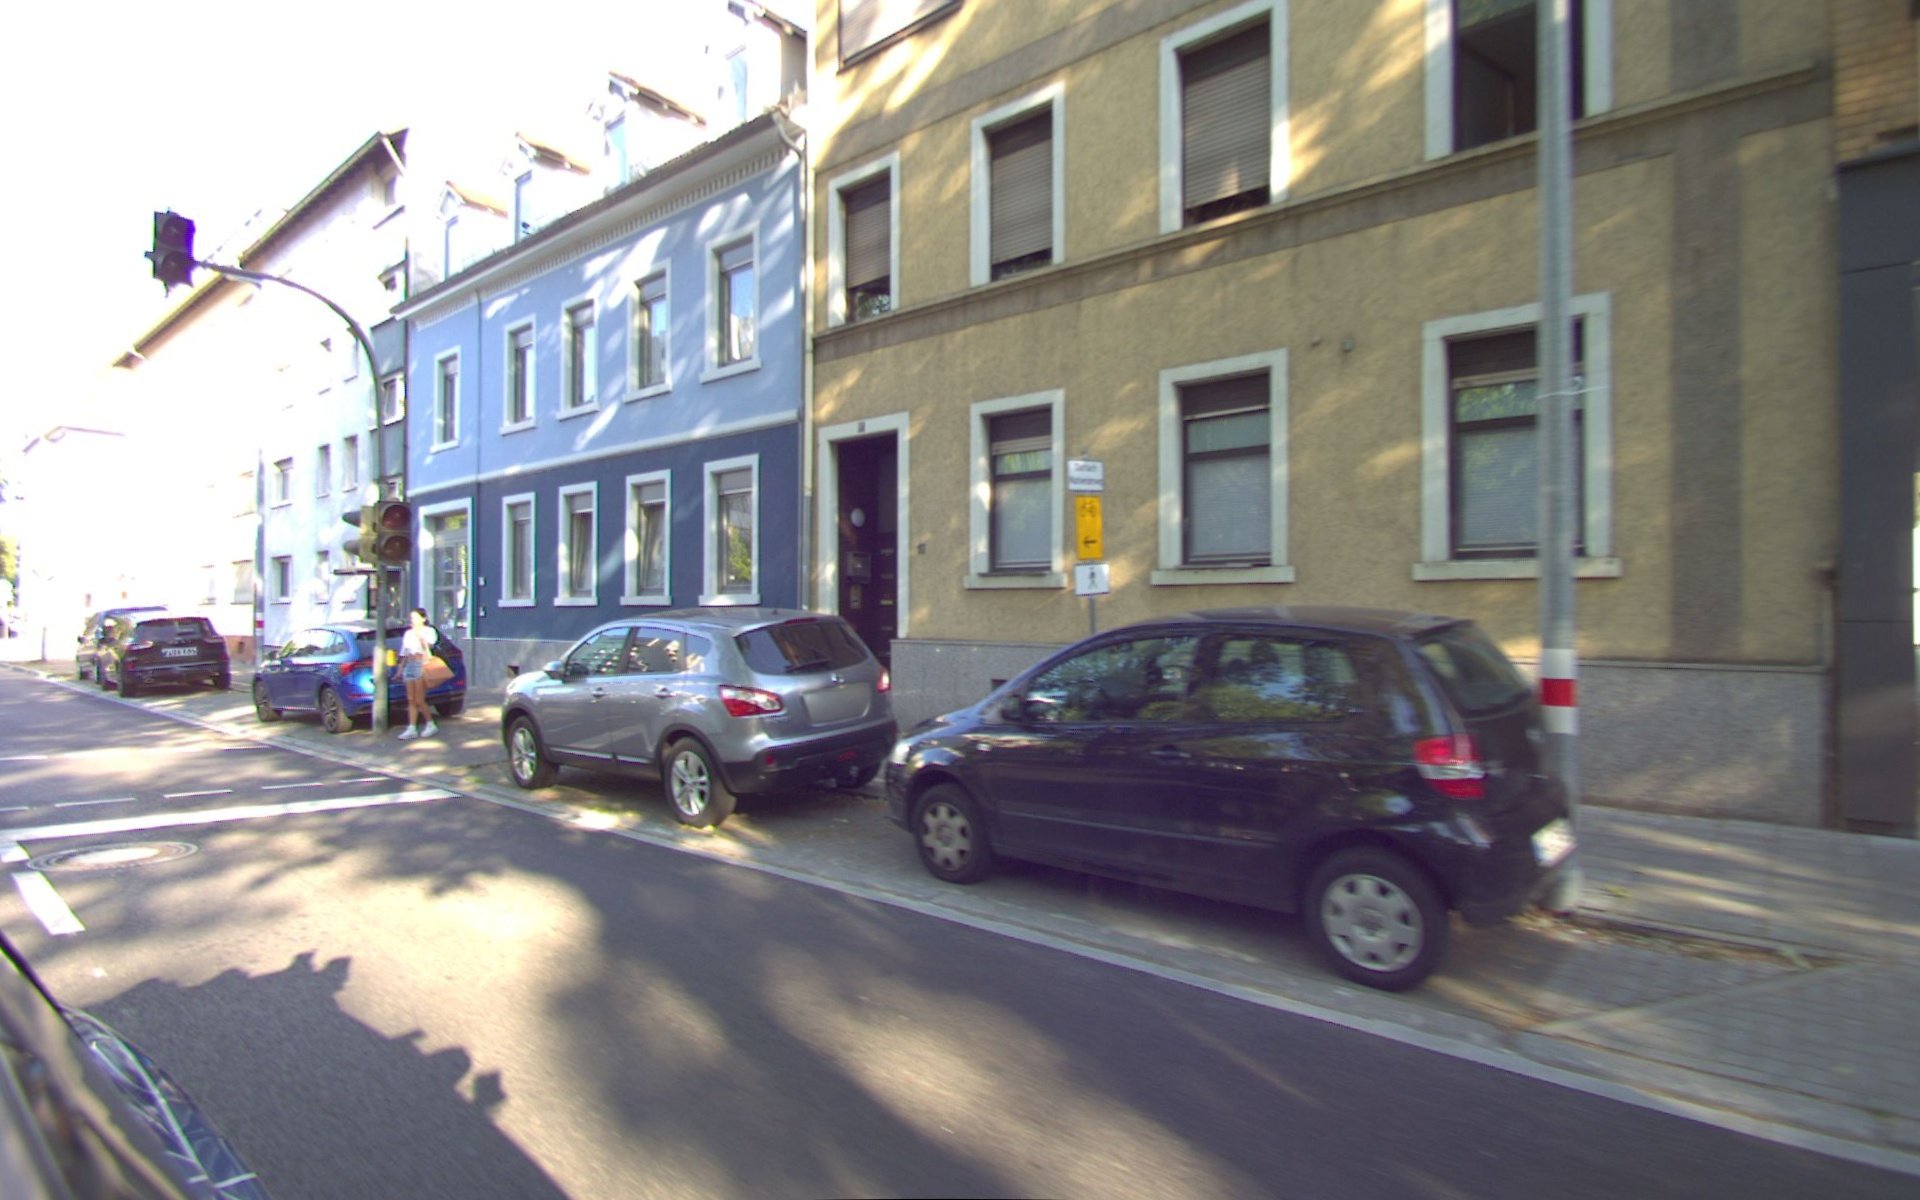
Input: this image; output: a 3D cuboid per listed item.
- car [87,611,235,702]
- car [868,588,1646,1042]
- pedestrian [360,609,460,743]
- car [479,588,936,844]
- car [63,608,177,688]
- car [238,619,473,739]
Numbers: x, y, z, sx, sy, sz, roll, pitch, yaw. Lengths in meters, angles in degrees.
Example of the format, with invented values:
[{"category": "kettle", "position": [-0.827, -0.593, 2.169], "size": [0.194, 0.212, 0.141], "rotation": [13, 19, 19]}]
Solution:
[{"category": "car", "position": [-17.067, 1.115, 21.538], "size": [4.494, 1.685, 1.885], "rotation": [-1, 0, 44]}, {"category": "car", "position": [1.360, 0.786, 5.500], "size": [3.705, 1.617, 1.659], "rotation": [-1, 0, 43]}, {"category": "pedestrian", "position": [-6.828, 0.917, 12.581], "size": [0.704, 1.582, 0.856], "rotation": [-1, -2, 34]}, {"category": "car", "position": [-2.339, 0.789, 8.727], "size": [4.154, 1.685, 1.763], "rotation": [-1, 0, 41]}, {"category": "car", "position": [-21.057, 1.140, 25.325], "size": [4.004, 1.832, 1.647], "rotation": [-1, 0, 42]}, {"category": "car", "position": [-9.025, 1.059, 14.978], "size": [4.258, 1.498, 1.634], "rotation": [-1, 0, 39]}]
